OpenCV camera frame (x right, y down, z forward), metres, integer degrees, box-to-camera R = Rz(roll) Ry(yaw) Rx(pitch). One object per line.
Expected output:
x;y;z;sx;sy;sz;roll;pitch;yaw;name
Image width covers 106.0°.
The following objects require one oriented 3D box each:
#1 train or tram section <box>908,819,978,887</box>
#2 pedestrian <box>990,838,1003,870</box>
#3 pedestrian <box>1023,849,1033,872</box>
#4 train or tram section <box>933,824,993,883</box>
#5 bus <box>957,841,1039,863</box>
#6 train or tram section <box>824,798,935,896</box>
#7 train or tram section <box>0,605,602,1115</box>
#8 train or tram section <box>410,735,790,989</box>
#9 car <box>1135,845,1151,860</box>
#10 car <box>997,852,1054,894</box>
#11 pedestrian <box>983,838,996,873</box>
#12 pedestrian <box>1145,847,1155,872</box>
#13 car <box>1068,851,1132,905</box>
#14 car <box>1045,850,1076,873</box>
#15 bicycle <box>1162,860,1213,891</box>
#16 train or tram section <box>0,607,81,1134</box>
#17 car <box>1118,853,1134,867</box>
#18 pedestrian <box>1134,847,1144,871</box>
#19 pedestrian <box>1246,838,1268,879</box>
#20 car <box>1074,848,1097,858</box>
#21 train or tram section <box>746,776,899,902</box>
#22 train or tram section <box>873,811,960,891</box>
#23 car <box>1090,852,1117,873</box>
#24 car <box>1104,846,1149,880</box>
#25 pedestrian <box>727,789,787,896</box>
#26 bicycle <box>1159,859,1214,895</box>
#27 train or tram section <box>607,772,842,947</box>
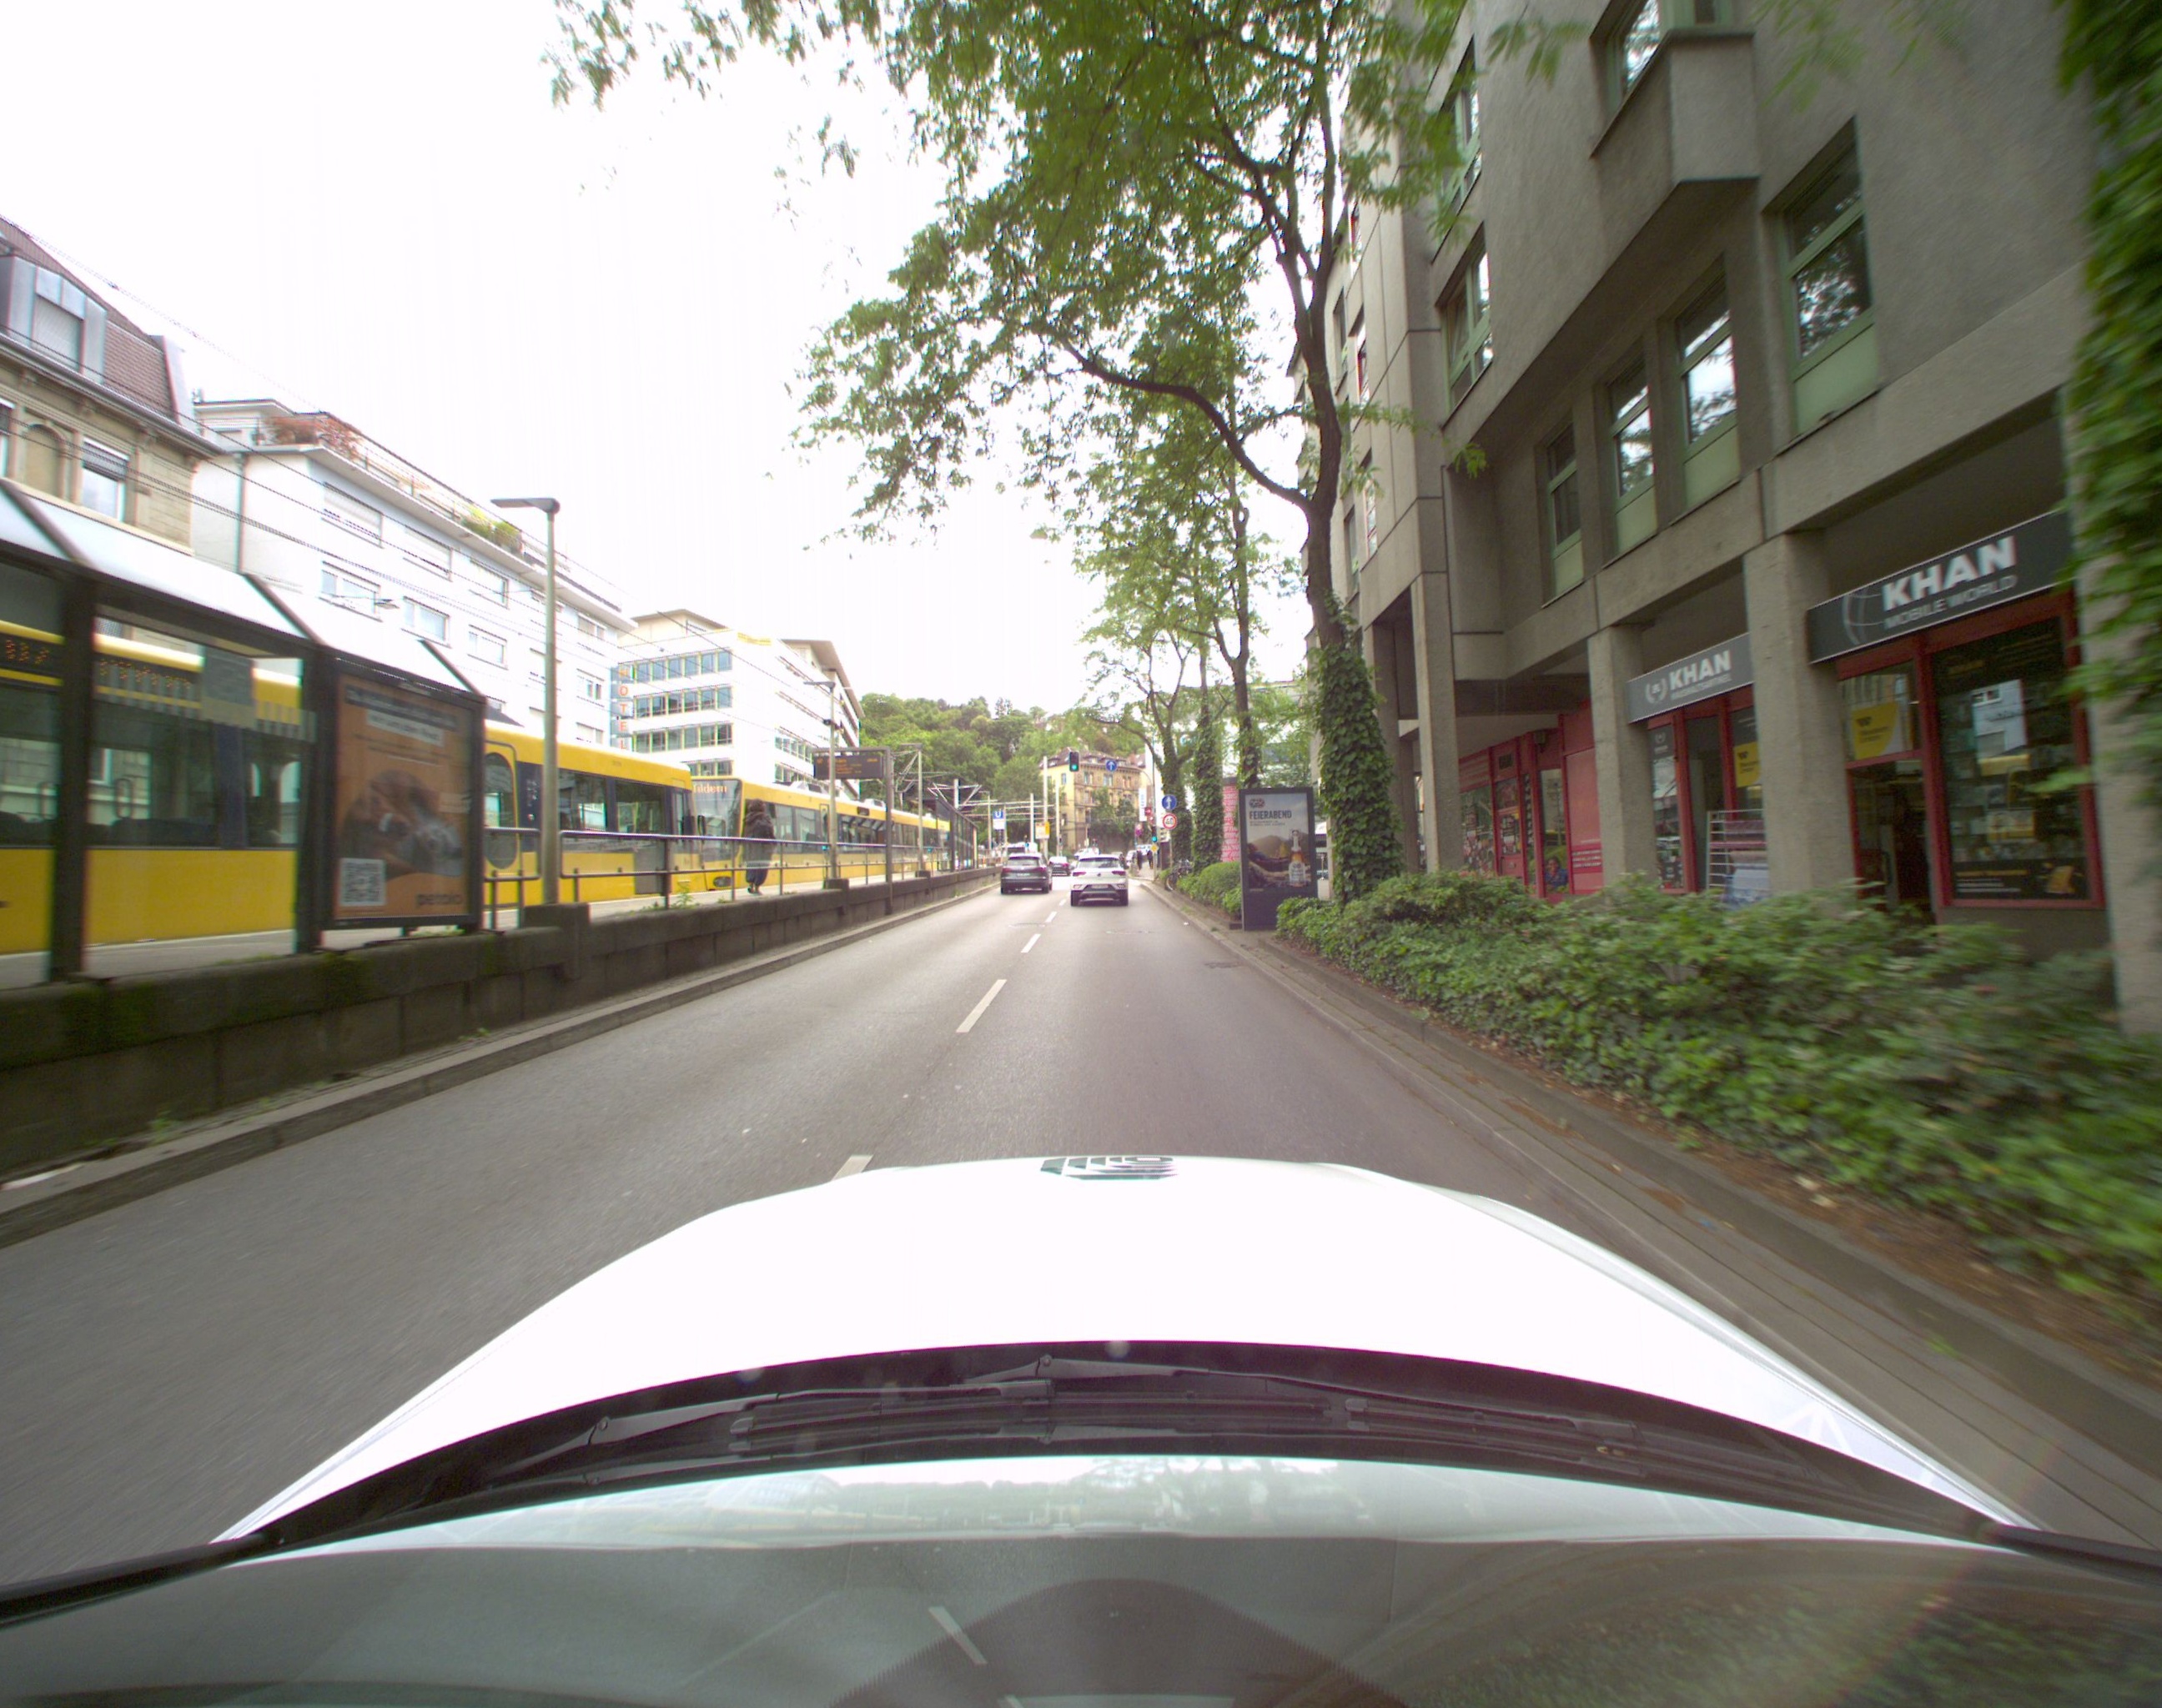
-7.898;-0.023;47.508;2.803;3.666;6.752;0;-1;1;train or tram section
-5.346;0.025;51.527;0.761;2.014;0.837;0;-2;-5;pedestrian
-4.632;0.570;70.849;0.759;2.014;0.839;0;-2;2;pedestrian
-7.743;-0.008;54.269;2.803;3.666;6.752;0;-1;1;train or tram section
-12.813;-0.215;124.753;13.152;3.065;3.404;-2;-2;32;bus
-8.187;-0.202;34.025;2.803;3.666;6.752;0;-1;1;train or tram section
-8.471;0.089;8.849;2.802;3.666;5.906;0;-1;3;train or tram section
-8.171;0.171;15.177;2.802;3.666;6.755;0;-1;3;train or tram section
9.439;-0.239;123.677;2.353;2.014;5.155;-1;-2;5;car
-2.246;0.755;34.240;1.986;1.636;4.001;-1;0;1;car
-5.362;0.118;47.796;0.761;2.014;0.837;0;-2;-5;pedestrian
5.841;0.474;68.691;0.758;2.014;0.840;-1;-2;7;pedestrian
0.696;0.733;26.121;1.829;1.584;4.161;-1;-1;4;car
-1.498;0.527;60.722;1.903;1.689;4.005;0;0;4;car
4.045;0.810;30.866;1.870;1.137;0.810;-1;-2;8;bicycle
-8.760;0.078;3.011;2.823;3.521;5.755;0;-1;3;train or tram section
5.784;0.763;103.953;1.876;1.684;4.165;-1;-2;4;car
4.959;0.446;69.728;0.758;2.014;0.840;-1;-2;7;pedestrian
6.857;0.182;31.736;0.637;1.615;0.584;0;-2;-18;pedestrian
0.763;-0.174;138.636;1.893;1.689;4.025;0;0;36;car
-8.347;-0.389;27.256;2.803;3.666;6.752;0;-1;1;train or tram section
-8.048;-0.092;40.764;2.803;3.666;6.752;0;-1;1;train or tram section
1.833;0.712;68.434;1.881;1.684;4.154;0;-2;-4;car
2.493;0.552;45.889;1.882;1.684;4.154;-4;-2;-4;car
-5.560;-0.195;14.016;0.624;1.762;0.847;-2;0;2;pedestrian
3.814;0.821;29.379;1.868;1.266;0.767;-1;-2;13;bicycle
-8.483;0.161;20.509;2.803;3.666;6.752;0;-1;1;train or tram section
